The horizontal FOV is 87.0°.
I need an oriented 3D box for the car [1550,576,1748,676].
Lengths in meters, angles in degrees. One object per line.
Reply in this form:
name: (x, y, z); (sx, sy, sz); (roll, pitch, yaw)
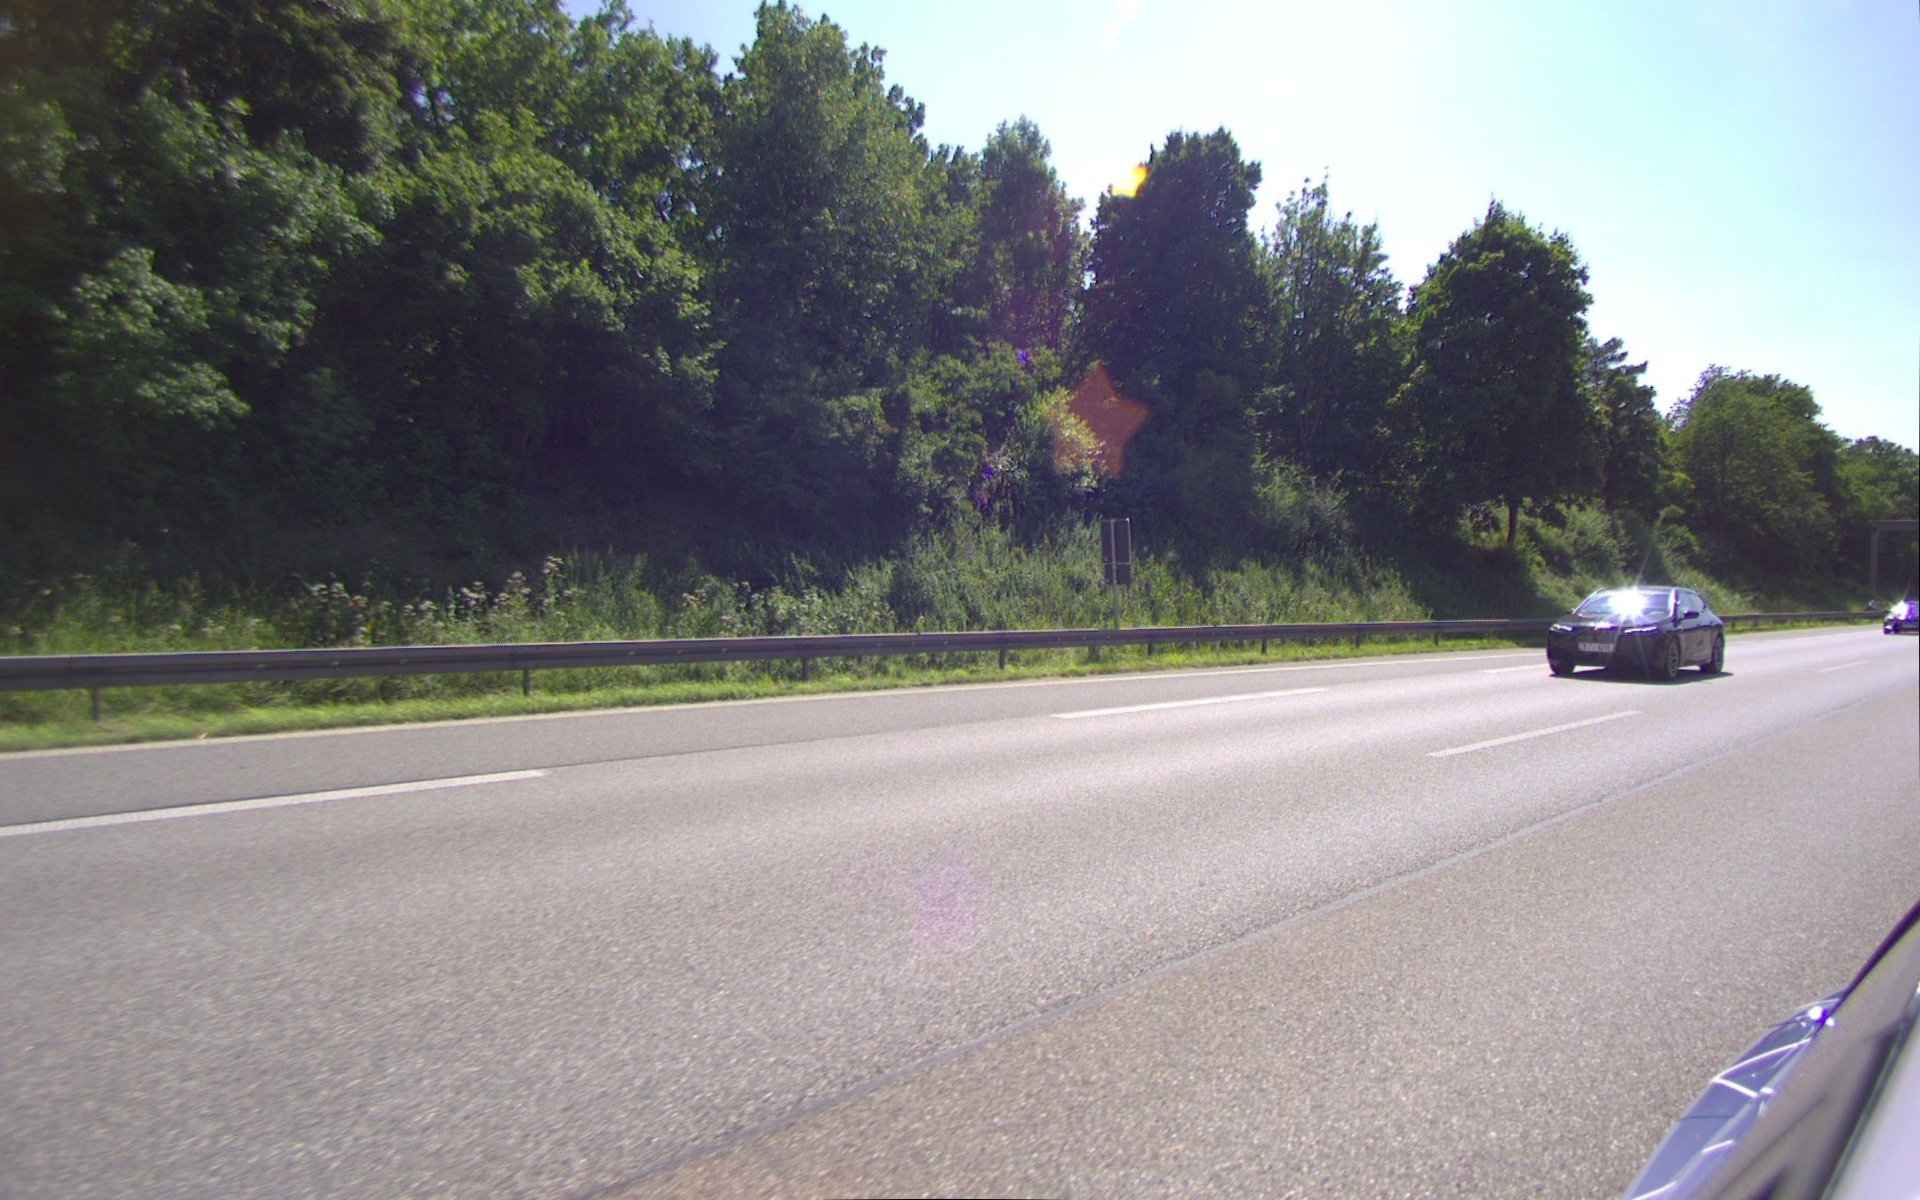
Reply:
car: (13.250, 0.430, 19.351); (4.602, 1.690, 1.924); (0, 0, -39)

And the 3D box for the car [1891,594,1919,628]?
car: (42.362, 0.490, 44.329); (4.066, 1.415, 1.915); (0, 2, -41)
